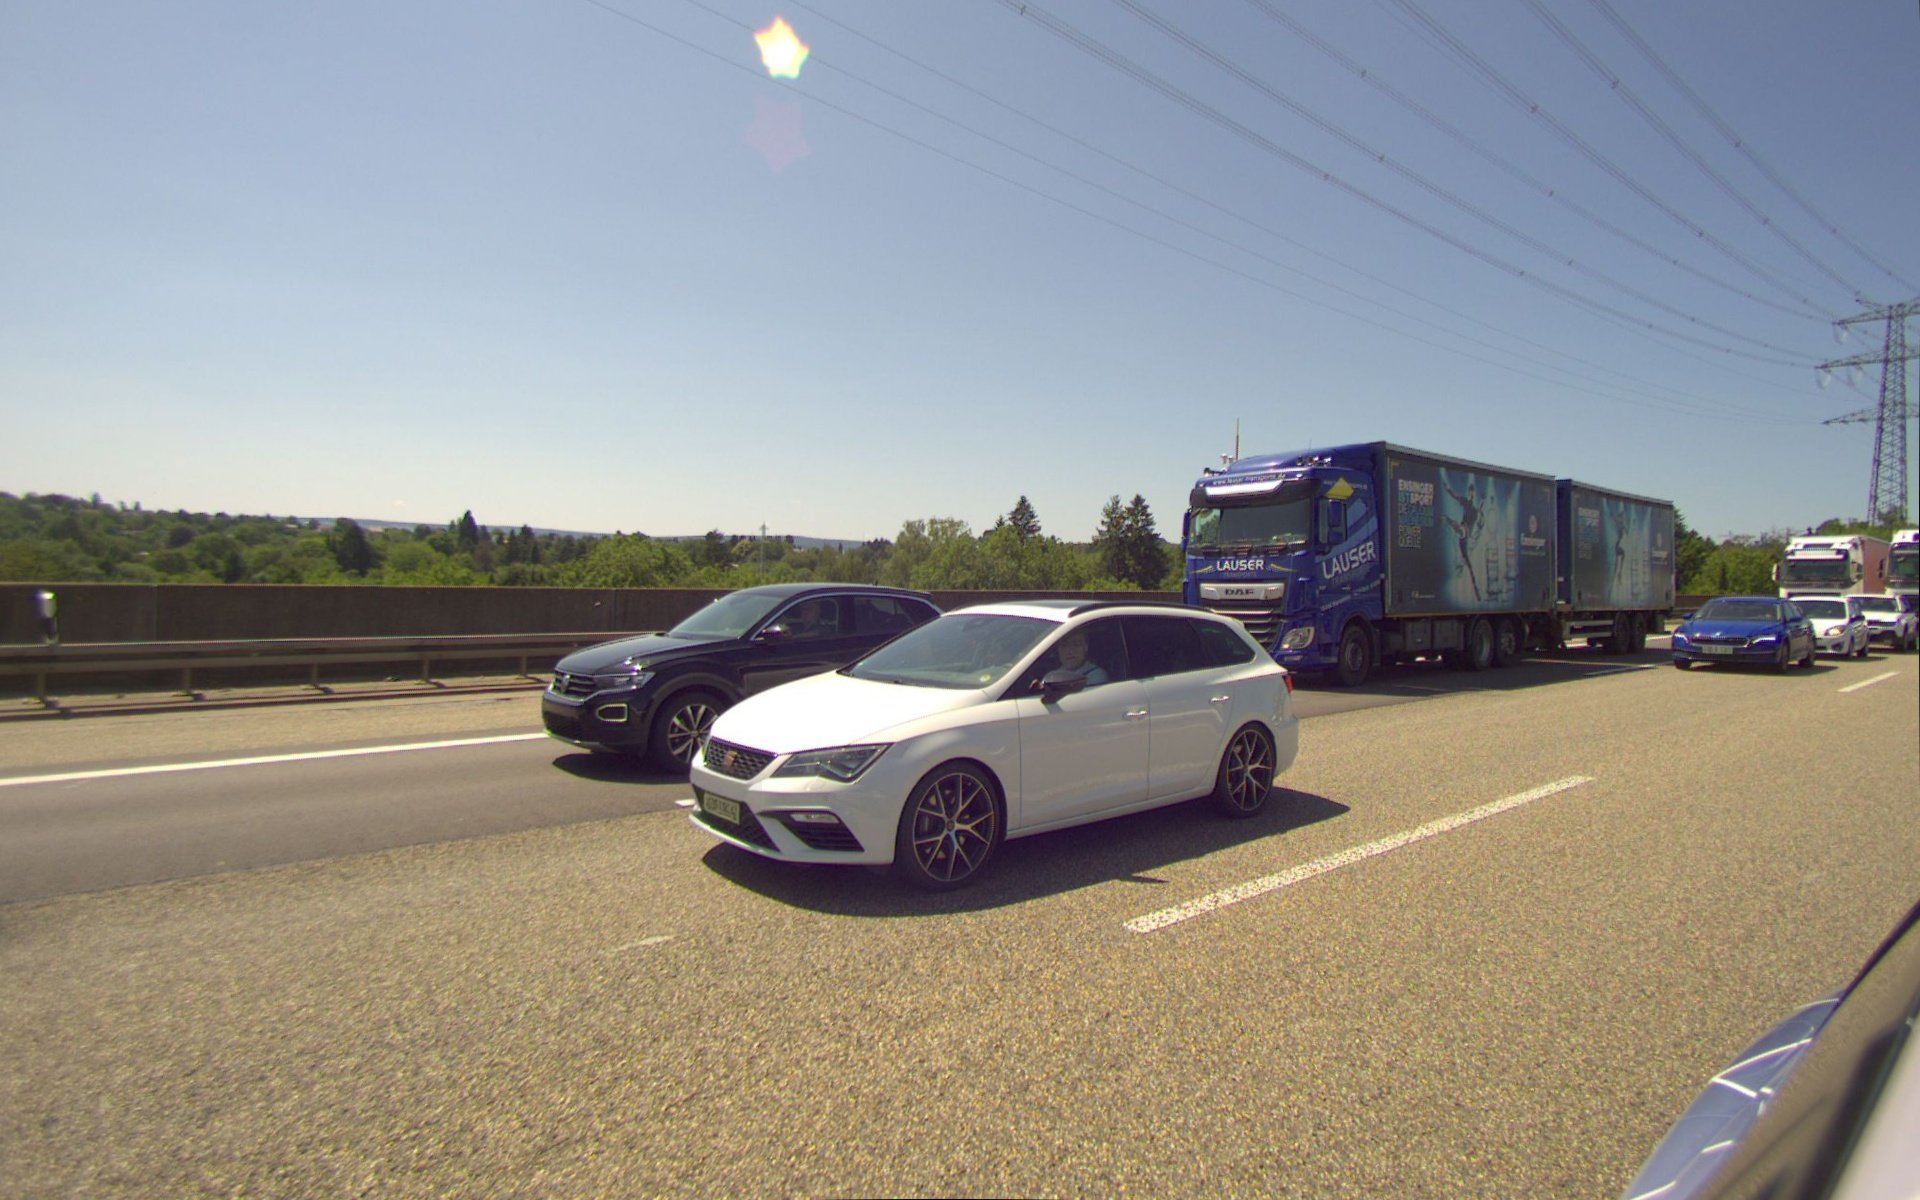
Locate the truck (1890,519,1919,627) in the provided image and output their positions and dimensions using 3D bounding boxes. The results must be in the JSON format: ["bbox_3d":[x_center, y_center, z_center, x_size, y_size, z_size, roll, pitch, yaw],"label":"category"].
[{"bbox_3d":[37.982,-1.025,38.551,8.121,3.874,2.847,-1,0,-41],"label":"truck"}]

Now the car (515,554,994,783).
[{"bbox_3d":[-1.752,0.473,9.380,4.045,1.675,1.712,-1,1,-40],"label":"car"}]

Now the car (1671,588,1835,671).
[{"bbox_3d":[16.060,0.517,20.405,4.482,1.470,1.712,-1,1,-40],"label":"car"}]

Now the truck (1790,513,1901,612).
[{"bbox_3d":[39.114,-1.577,44.610,8.121,4.037,2.606,-1,0,-41],"label":"truck"}]

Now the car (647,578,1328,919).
[{"bbox_3d":[0.439,0.640,6.458,4.351,1.470,1.711,0,0,-41],"label":"car"}]

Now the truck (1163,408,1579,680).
[{"bbox_3d":[8.248,-0.898,19.227,10.210,3.999,2.857,-1,0,-40],"label":"truck"}]

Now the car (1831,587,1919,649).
[{"bbox_3d":[25.097,0.425,27.352,4.071,1.528,1.712,-1,1,-40],"label":"car"}]

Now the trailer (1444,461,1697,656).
[{"bbox_3d":[15.446,-0.948,25.264,8.485,4.140,2.833,-1,0,-40],"label":"trailer"}]

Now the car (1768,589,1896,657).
[{"bbox_3d":[21.013,0.493,24.339,4.071,1.470,1.712,-1,1,-40],"label":"car"}]
